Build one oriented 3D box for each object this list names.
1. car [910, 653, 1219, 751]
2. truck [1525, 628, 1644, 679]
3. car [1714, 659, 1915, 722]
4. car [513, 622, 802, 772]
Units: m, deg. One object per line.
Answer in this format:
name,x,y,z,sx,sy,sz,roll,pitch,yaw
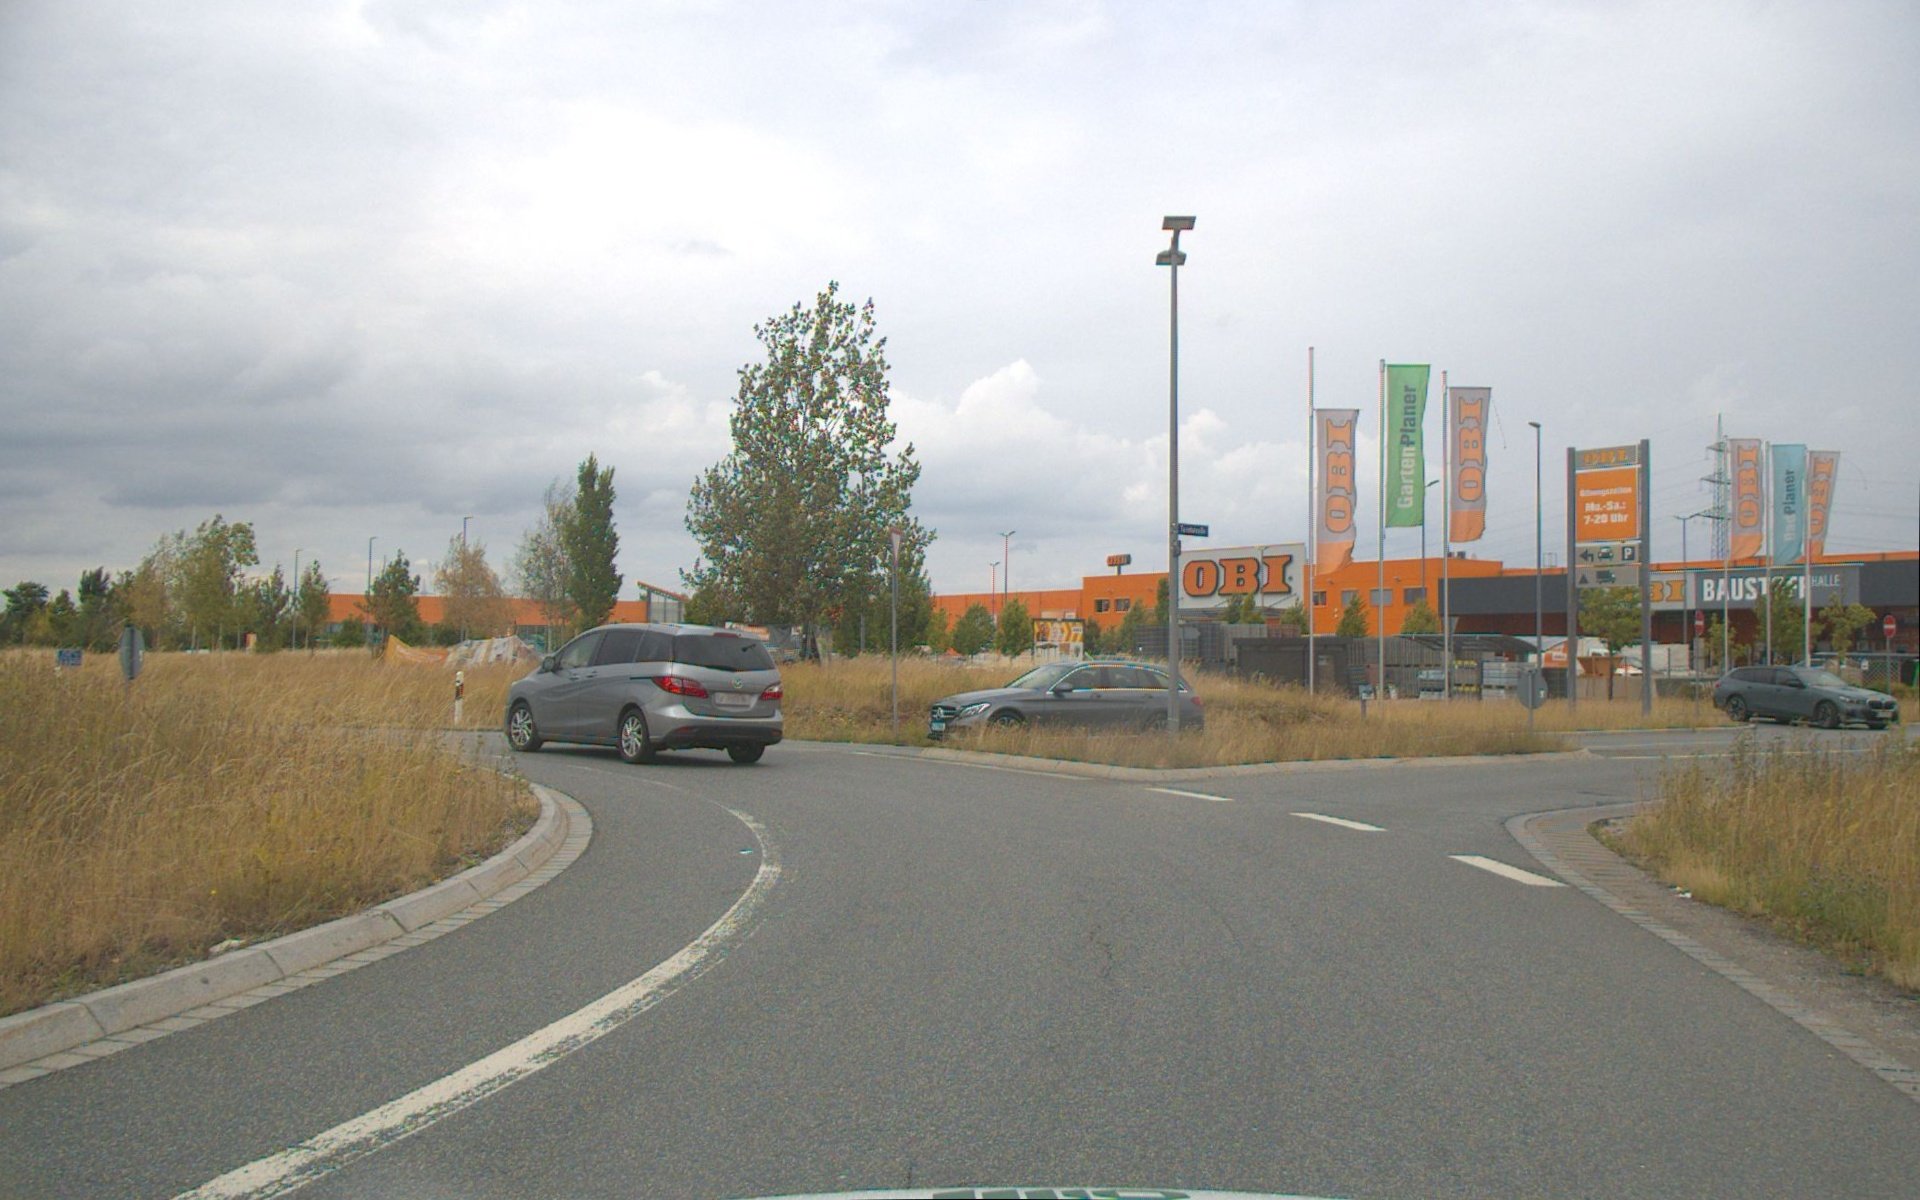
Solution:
car,1.697,1.644,26.509,4.617,1.428,1.911,3,-3,-27
truck,33.313,2.909,88.329,2.417,2.528,5.469,4,-5,-40
car,22.342,2.410,43.483,1.963,1.534,4.656,2,-4,-18
car,-3.763,1.130,20.127,1.727,1.627,3.939,3,-3,-40
